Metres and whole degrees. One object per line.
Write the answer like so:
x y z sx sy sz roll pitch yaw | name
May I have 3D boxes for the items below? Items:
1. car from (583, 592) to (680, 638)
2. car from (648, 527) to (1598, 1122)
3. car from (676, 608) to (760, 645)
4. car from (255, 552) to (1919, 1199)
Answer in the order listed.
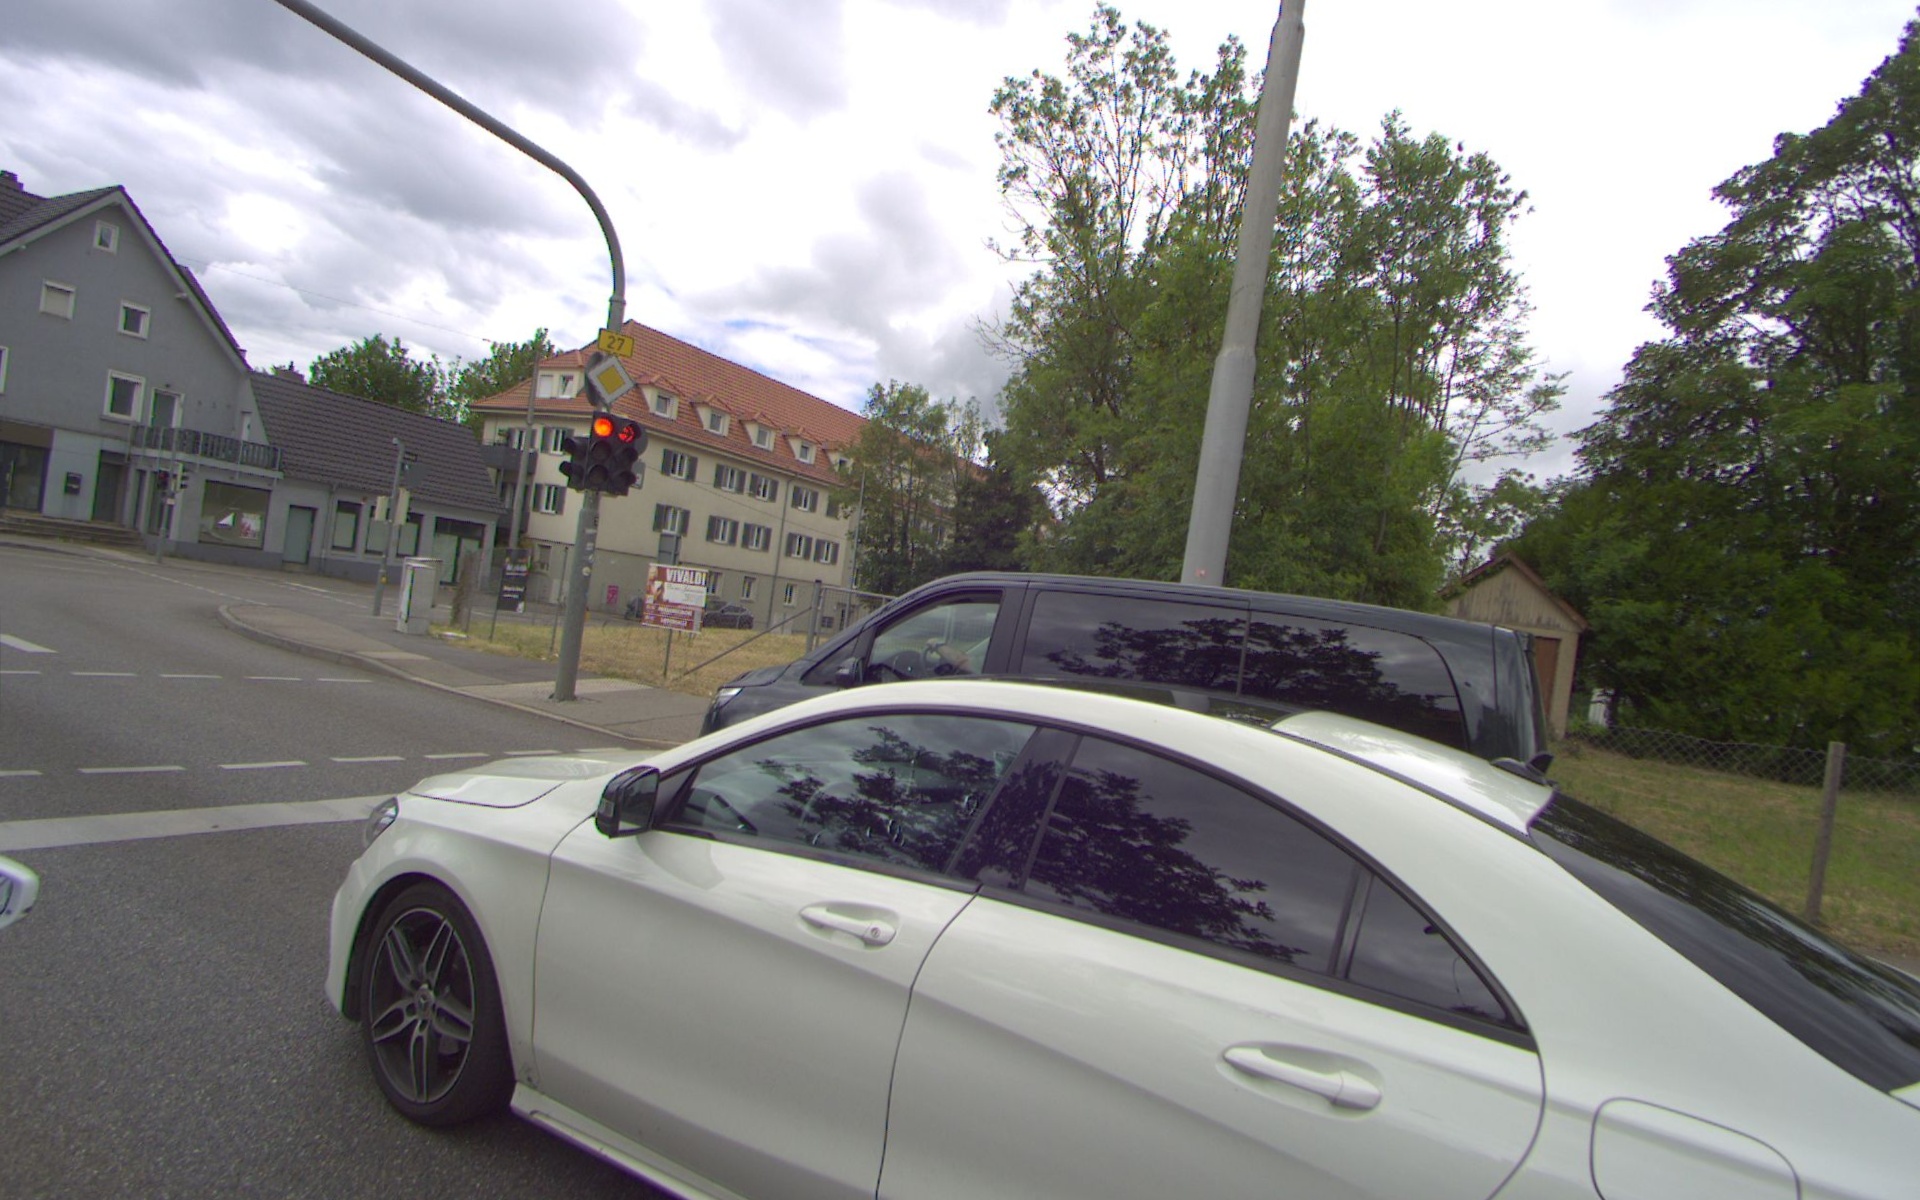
-15.525 0.736 47.673 1.839 1.554 3.996 7 -2 32 | car
0.707 0.818 5.656 4.631 1.860 1.953 7 -2 32 | car
-12.630 1.399 52.661 1.839 1.393 3.996 7 -2 32 | car
0.151 0.851 2.652 4.305 1.451 1.651 7 0 32 | car
